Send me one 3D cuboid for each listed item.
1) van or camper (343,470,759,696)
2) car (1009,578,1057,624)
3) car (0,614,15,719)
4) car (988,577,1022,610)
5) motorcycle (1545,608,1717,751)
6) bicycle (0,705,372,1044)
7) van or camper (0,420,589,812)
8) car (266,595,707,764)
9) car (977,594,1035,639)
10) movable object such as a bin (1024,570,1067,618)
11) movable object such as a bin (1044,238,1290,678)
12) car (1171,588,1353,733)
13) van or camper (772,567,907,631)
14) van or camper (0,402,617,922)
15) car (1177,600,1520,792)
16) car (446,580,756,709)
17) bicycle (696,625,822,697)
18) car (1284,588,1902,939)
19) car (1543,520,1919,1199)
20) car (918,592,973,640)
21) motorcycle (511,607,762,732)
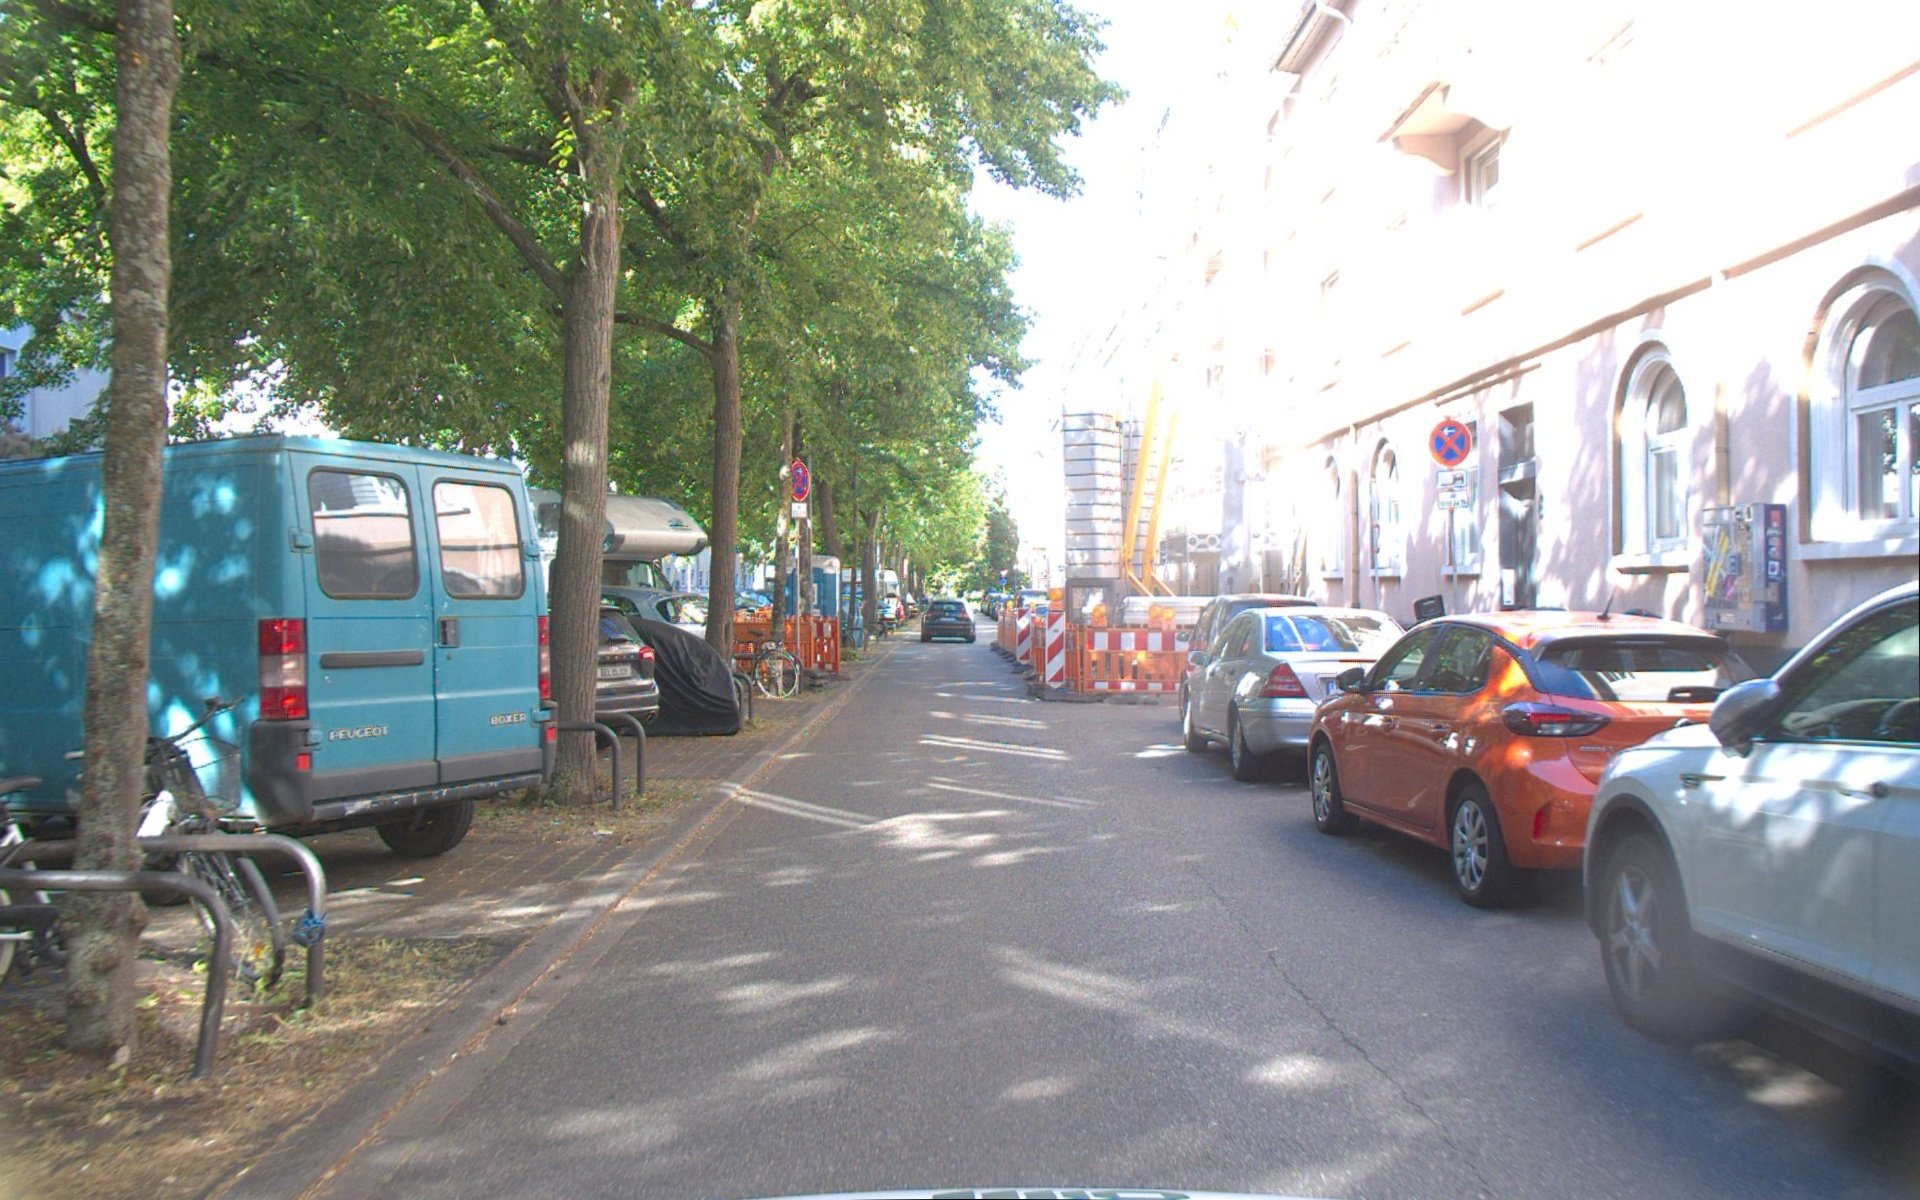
[{"bbox_3d":[-6.681,-0.221,26.795,6.528,3.297,2.492,-1,0,28],"label":"van or camper"},{"bbox_3d":[3.032,0.015,69.532,1.760,1.832,3.585,-1,0,-1],"label":"car"},{"bbox_3d":[-14.593,0.970,21.916,1.779,1.481,3.967,-1,0,1],"label":"car"},{"bbox_3d":[2.593,-0.408,95.852,1.760,1.832,3.585,-1,0,-1],"label":"car"},{"bbox_3d":[6.183,0.698,15.352,0.537,1.214,1.832,-1,0,-12],"label":"motorcycle"},{"bbox_3d":[-3.001,0.936,5.796,1.702,1.023,0.506,-1,0,-31],"label":"bicycle"},{"bbox_3d":[-6.048,0.129,13.696,5.757,2.683,2.251,-1,0,29],"label":"van or camper"},{"bbox_3d":[-4.559,0.698,15.888,3.876,1.439,1.821,-1,0,27],"label":"car"},{"bbox_3d":[1.508,0.521,55.586,1.760,1.409,3.585,-1,0,-1],"label":"car"},{"bbox_3d":[4.208,-0.313,82.155,1.760,2.272,4.605,-1,0,-1],"label":"movable object such as a bin"},{"bbox_3d":[3.479,-2.218,27.730,3.416,6.878,2.362,0,0,32],"label":"movable object such as a bin"},{"bbox_3d":[3.464,0.647,19.375,1.559,1.557,2.780,0,0,-2],"label":"car"},{"bbox_3d":[-5.017,-0.031,68.485,5.236,2.518,2.288,-1,0,32],"label":"van or camper"},{"bbox_3d":[-4.874,0.300,9.458,5.387,2.315,2.220,-1,0,24],"label":"van or camper"},{"bbox_3d":[3.278,0.735,14.941,1.953,1.434,4.500,0,0,-1],"label":"car"},{"bbox_3d":[-4.958,0.575,22.847,3.874,1.657,1.822,-1,0,25],"label":"car"},{"bbox_3d":[-2.942,0.880,24.113,1.858,1.024,0.430,-1,0,23],"label":"bicycle"},{"bbox_3d":[3.267,0.718,9.457,1.755,1.550,3.960,-1,0,-5],"label":"car"},{"bbox_3d":[3.287,0.640,4.422,1.779,1.703,4.673,-1,0,0],"label":"car"},{"bbox_3d":[-0.508,0.506,55.887,1.760,1.530,3.585,-1,0,-1],"label":"car"},{"bbox_3d":[-3.429,0.727,17.619,2.495,1.280,0.763,-1,0,7],"label":"motorcycle"}]
